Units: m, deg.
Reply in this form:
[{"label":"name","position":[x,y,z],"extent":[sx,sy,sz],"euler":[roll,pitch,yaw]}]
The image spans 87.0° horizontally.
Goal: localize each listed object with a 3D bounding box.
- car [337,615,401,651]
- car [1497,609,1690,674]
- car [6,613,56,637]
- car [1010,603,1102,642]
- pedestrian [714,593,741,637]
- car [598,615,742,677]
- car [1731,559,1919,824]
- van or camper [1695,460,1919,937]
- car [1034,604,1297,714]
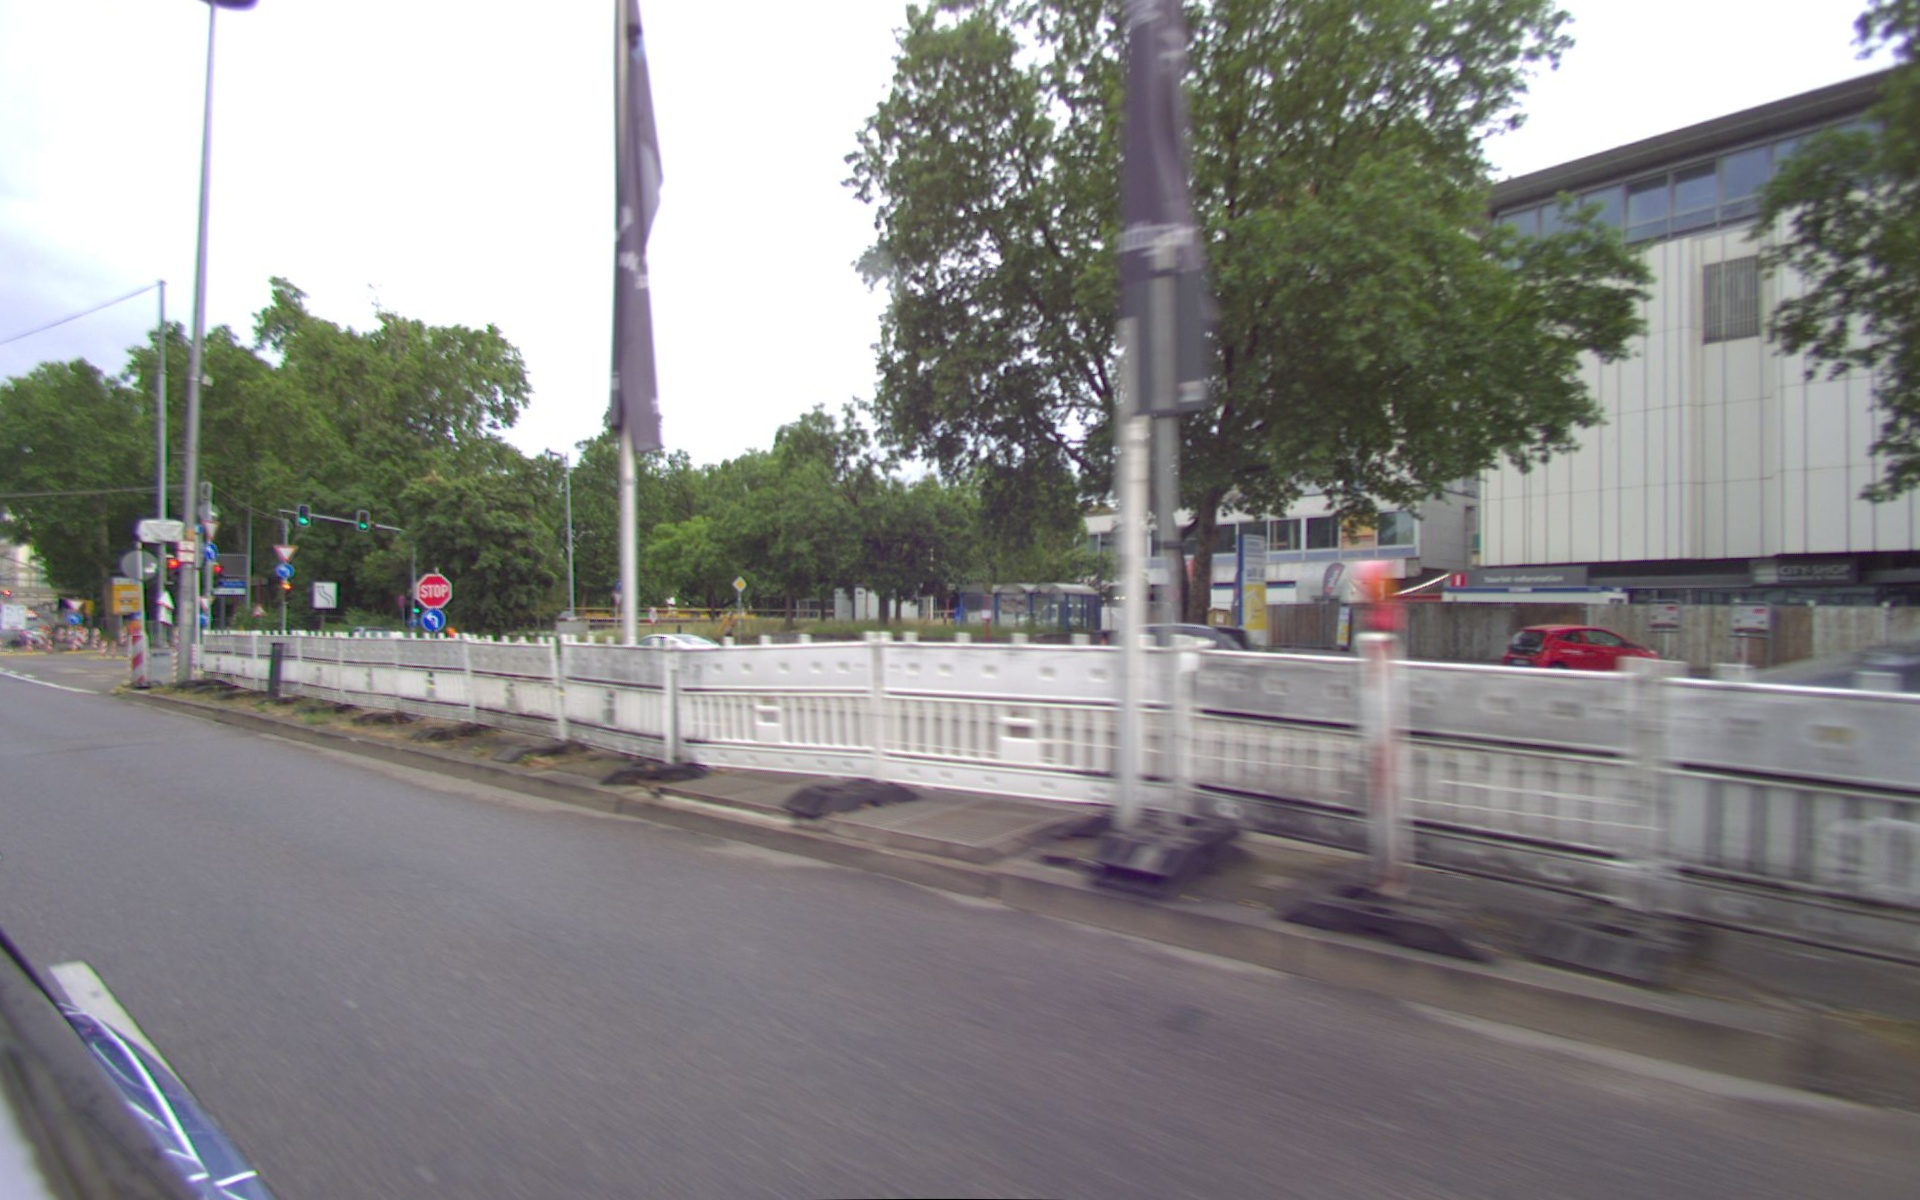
[{"label":"car","position":[-26.372,1.468,45.133],"extent":[3.174,1.554,1.659],"euler":[-1,-2,44]},{"label":"car","position":[15.732,1.012,25.258],"extent":[3.686,1.554,1.855],"euler":[0,-1,-6]},{"label":"car","position":[-69.178,1.852,75.345],"extent":[4.143,1.554,1.646],"euler":[-4,-2,31]},{"label":"car","position":[5.227,1.220,54.837],"extent":[4.782,2.029,2.029],"euler":[-1,-1,11]},{"label":"pedestrian","position":[-9.396,0.613,40.881],"extent":[0.950,1.738,0.551],"euler":[-5,-4,40]},{"label":"car","position":[-8.657,1.338,29.947],"extent":[4.820,1.644,1.971],"euler":[-2,-1,45]},{"label":"car","position":[7.711,0.574,6.381],"extent":[4.303,1.715,1.869],"euler":[-2,-2,45]},{"label":"van or camper","position":[5.839,0.388,3.352],"extent":[5.387,1.833,1.925],"euler":[-1,-4,40]},{"label":"car","position":[3.610,0.998,18.277],"extent":[4.302,1.715,1.869],"euler":[-2,-1,44]}]
